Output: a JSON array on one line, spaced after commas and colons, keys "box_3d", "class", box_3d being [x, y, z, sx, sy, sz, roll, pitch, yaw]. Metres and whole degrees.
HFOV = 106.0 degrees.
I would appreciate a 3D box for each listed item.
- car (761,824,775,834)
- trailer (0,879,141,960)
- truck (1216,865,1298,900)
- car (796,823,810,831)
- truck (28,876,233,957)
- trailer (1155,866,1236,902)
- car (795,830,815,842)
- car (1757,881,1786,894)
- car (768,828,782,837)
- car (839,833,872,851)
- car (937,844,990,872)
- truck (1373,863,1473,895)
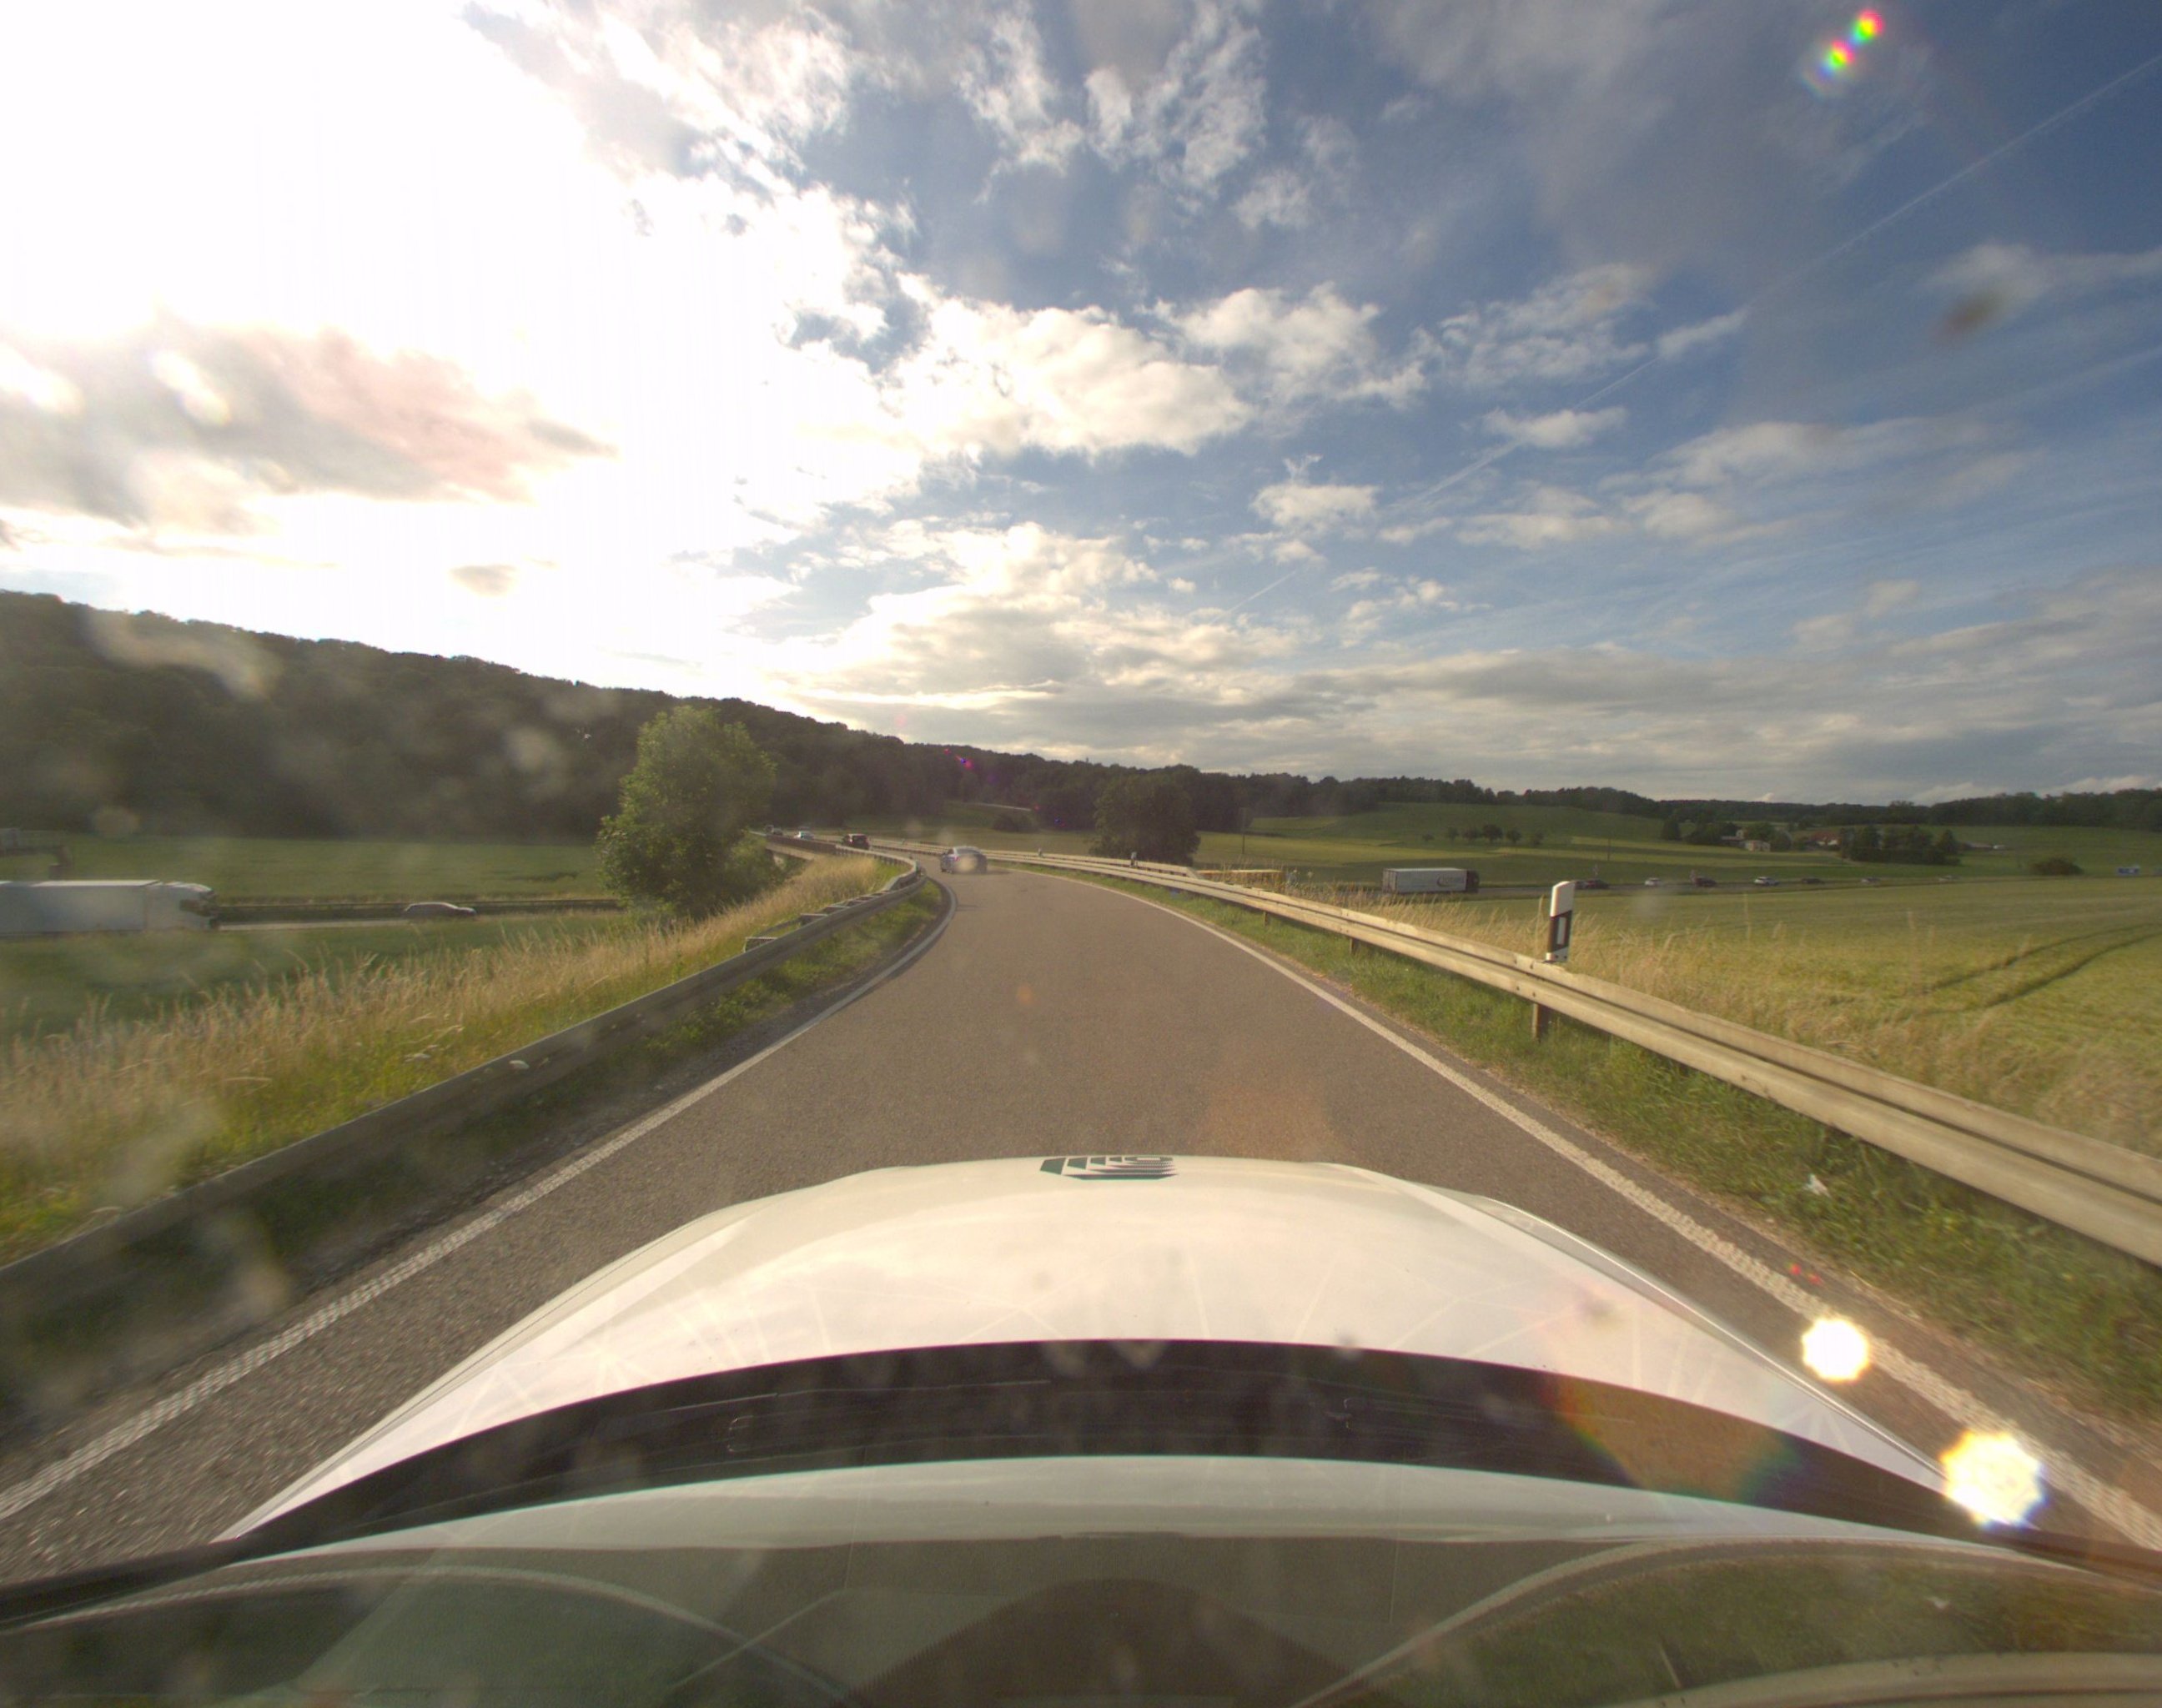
[{"box_3d": [-61.909, -4.932, 161.206, 1.997, 1.679, 4.156, 2, 0, -15], "class": "car"}, {"box_3d": [-67.974, 4.138, 50.131, 12.771, 4.466, 3.003, -1, 5, -32], "class": "trailer"}, {"box_3d": [21.956, 3.448, 101.416, 9.825, 4.060, 3.803, 0, 0, -28], "class": "truck"}, {"box_3d": [-66.878, -6.541, 195.675, 1.989, 1.771, 3.997, -3, 2, -2], "class": "car"}, {"box_3d": [-62.282, 3.981, 53.757, 8.084, 4.466, 3.001, -1, 5, -32], "class": "truck"}, {"box_3d": [13.690, 3.455, 96.973, 9.151, 4.060, 3.803, 0, 0, -28], "class": "trailer"}, {"box_3d": [-33.947, -2.188, 99.988, 1.692, 1.376, 3.964, 0, 2, -28], "class": "car"}, {"box_3d": [115.747, 5.605, 136.522, 4.003, 2.014, 1.985, -1, -1, -23], "class": "car"}, {"box_3d": [-45.451, -3.227, 120.949, 1.479, 1.227, 3.270, 0, 2, -28], "class": "car"}, {"box_3d": [-20.759, -1.095, 74.914, 1.875, 1.568, 3.959, 0, 1, -33], "class": "car"}, {"box_3d": [-6.117, 0.191, 42.066, 1.825, 1.339, 4.319, 0, 0, -21], "class": "car"}, {"box_3d": [47.423, 3.384, 112.754, 14.445, 3.997, 4.046, -1, -1, -25], "class": "truck"}]
